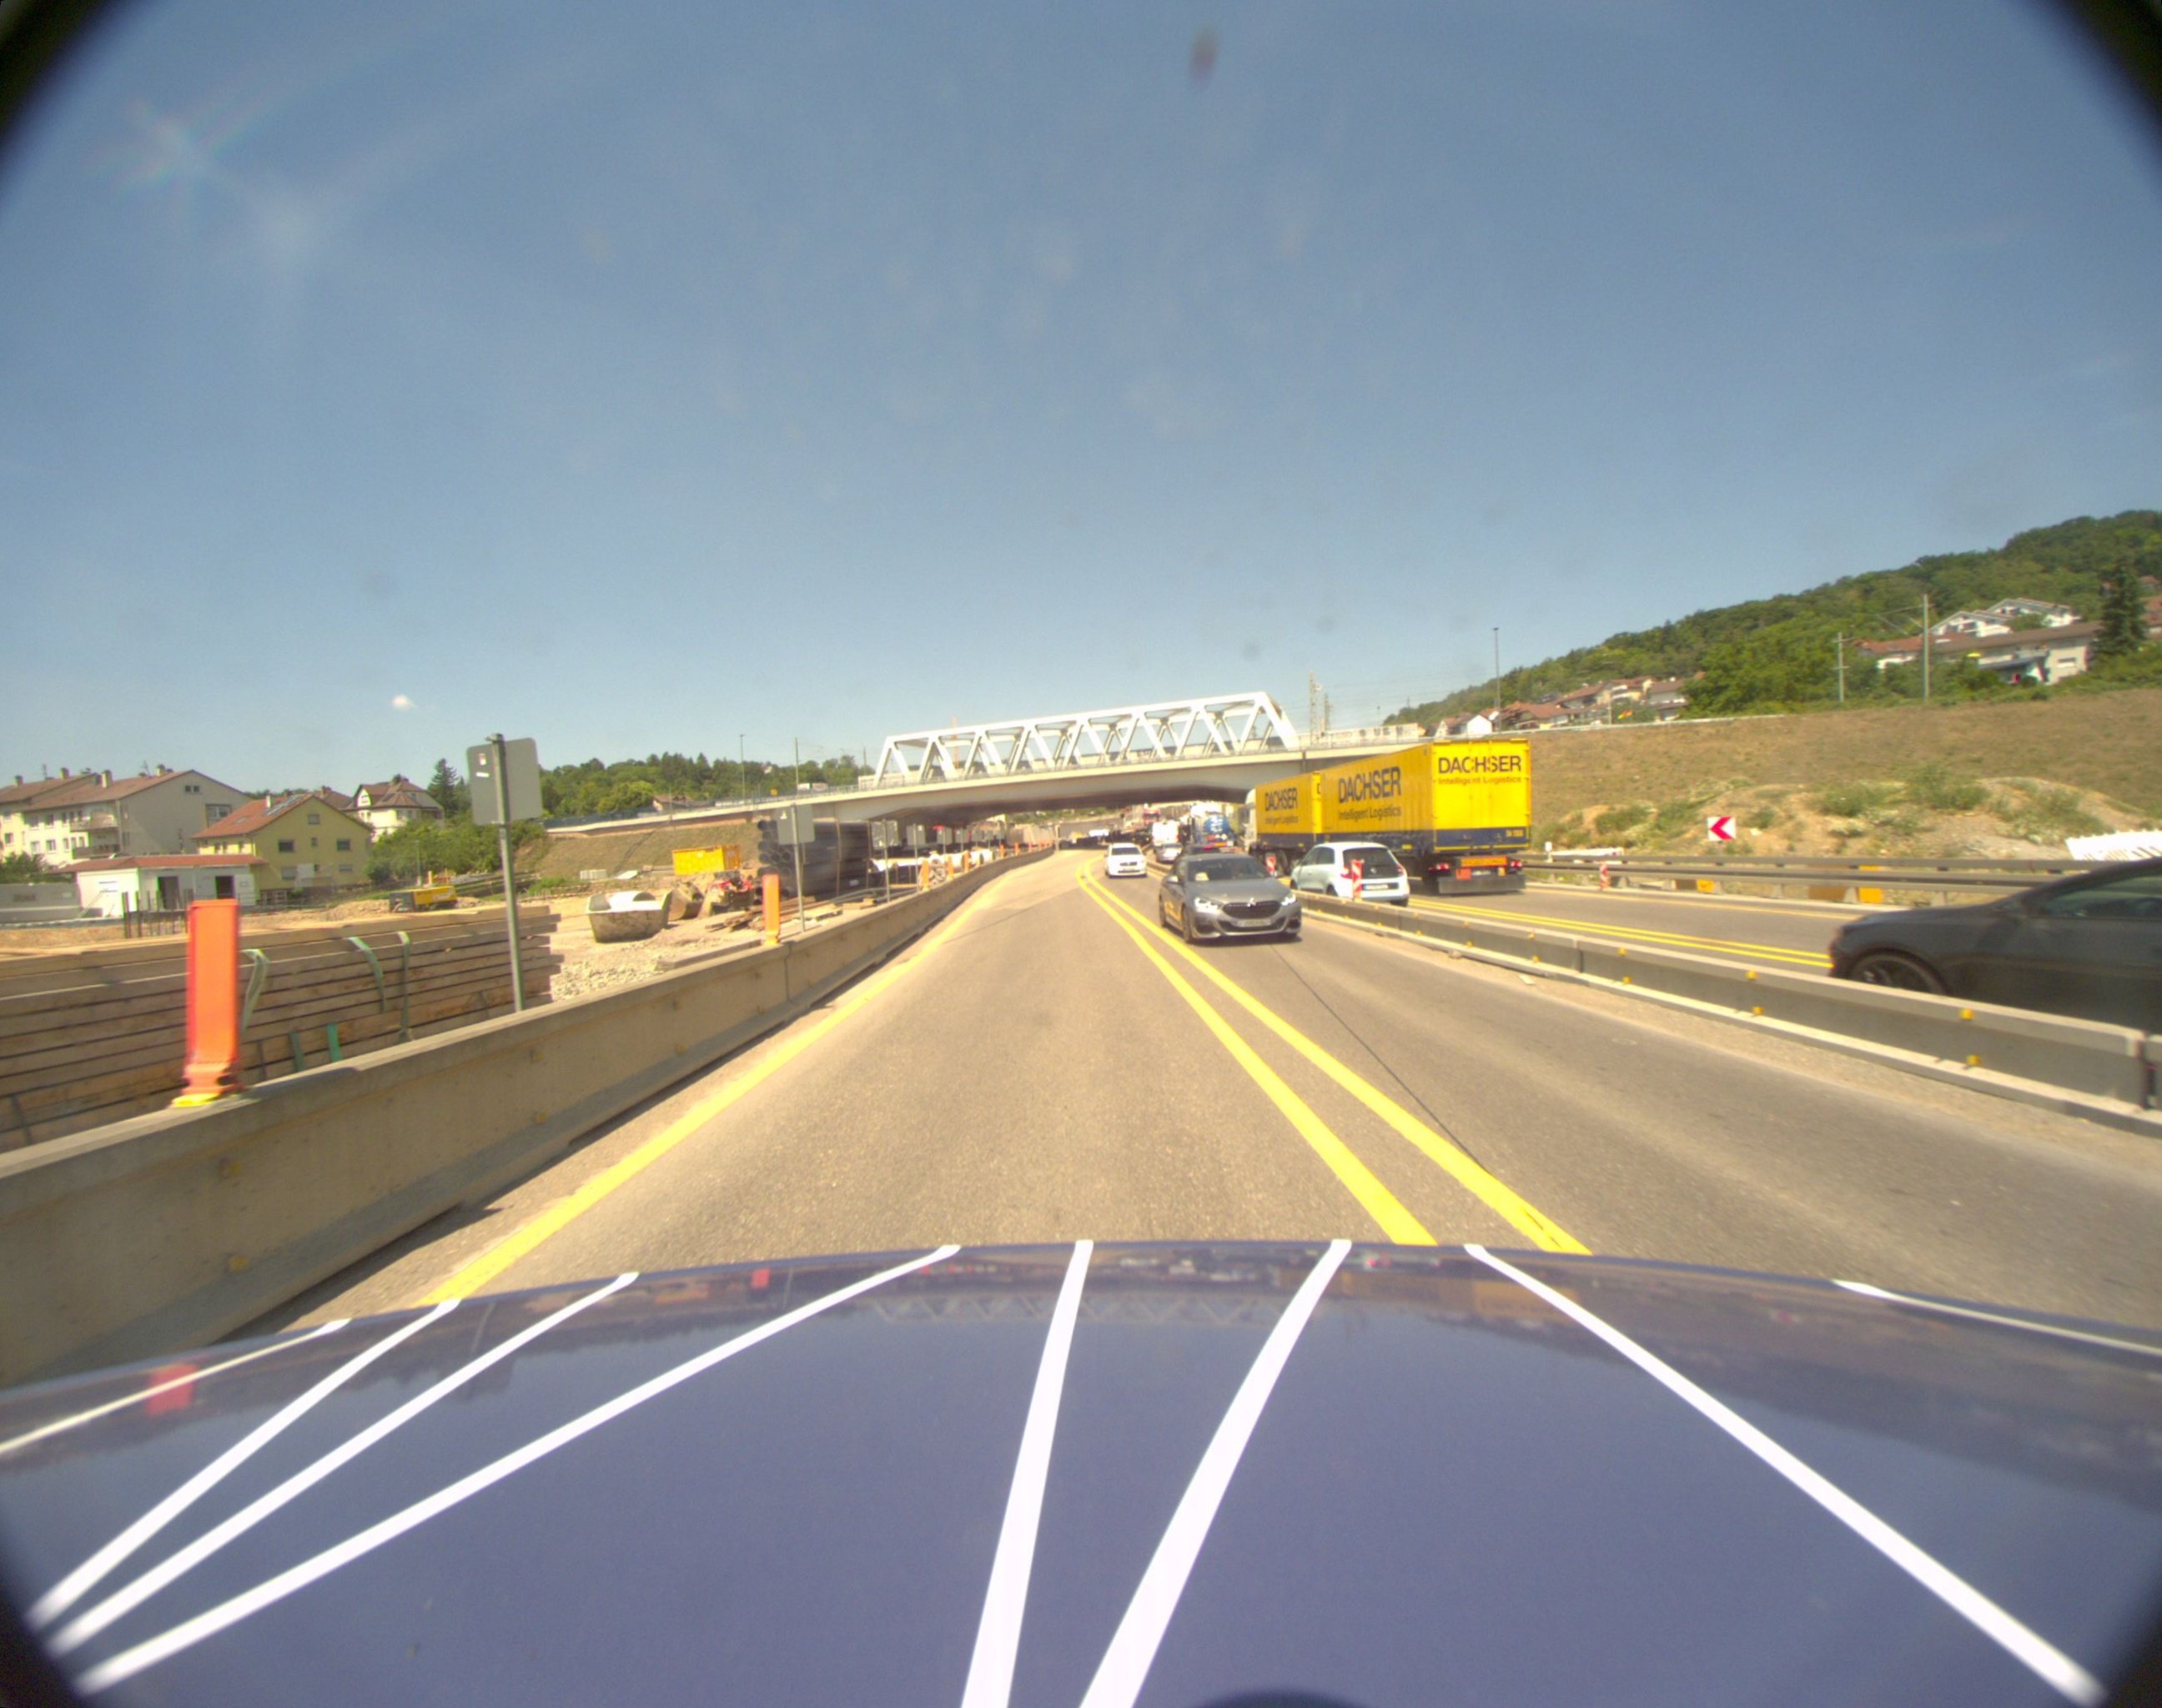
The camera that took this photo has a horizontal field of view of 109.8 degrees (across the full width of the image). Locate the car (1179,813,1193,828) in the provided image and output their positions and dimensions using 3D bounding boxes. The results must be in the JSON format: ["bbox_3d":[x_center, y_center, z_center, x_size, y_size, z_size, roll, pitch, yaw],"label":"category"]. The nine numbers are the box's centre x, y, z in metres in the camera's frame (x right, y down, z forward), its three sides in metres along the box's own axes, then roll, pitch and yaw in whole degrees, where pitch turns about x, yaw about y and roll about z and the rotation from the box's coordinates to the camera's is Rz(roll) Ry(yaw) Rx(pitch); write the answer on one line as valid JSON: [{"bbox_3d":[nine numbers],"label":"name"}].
[{"bbox_3d":[17.919,-5.714,129.161,1.984,2.318,6.059,-2,4,11],"label":"car"}]

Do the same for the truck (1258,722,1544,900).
[{"bbox_3d":[9.792,-1.255,26.604,2.814,4.318,15.366,-3,2,-2],"label":"truck"}]

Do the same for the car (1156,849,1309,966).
[{"bbox_3d":[2.439,0.777,13.336,1.838,1.588,4.389,-2,1,1],"label":"car"}]

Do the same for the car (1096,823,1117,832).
[{"bbox_3d":[5.961,-6.108,177.659,4.799,1.760,1.720,-4,3,5],"label":"car"}]

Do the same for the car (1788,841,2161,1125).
[{"bbox_3d":[6.578,0.675,3.750,1.825,1.427,4.582,-3,0,-1],"label":"car"}]

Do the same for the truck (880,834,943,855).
[{"bbox_3d":[-19.586,-1.105,88.034,6.531,2.062,2.666,-3,3,14],"label":"truck"}]

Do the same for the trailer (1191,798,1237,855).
[{"bbox_3d":[9.846,-2.127,57.184,2.531,3.769,10.244,-3,3,6],"label":"trailer"}]

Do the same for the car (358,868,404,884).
[{"bbox_3d":[-79.024,2.487,85.778,4.159,1.500,1.578,-1,5,14],"label":"car"}]

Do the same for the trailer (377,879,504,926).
[{"bbox_3d":[-26.342,1.949,31.444,1.627,1.478,3.826,-3,3,7],"label":"trailer"}]

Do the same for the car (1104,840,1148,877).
[{"bbox_3d":[2.057,0.149,35.313,1.838,1.465,4.389,-2,2,3],"label":"car"}]

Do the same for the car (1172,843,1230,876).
[{"bbox_3d":[5.440,0.192,35.003,1.681,1.354,4.501,-3,1,-3],"label":"car"}]

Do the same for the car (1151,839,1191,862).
[{"bbox_3d":[5.454,-0.223,46.613,1.681,1.257,4.334,-3,1,-3],"label":"car"}]

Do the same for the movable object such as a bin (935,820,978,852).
[{"bbox_3d":[-15.088,-2.168,92.136,3.885,3.524,2.905,-2,5,22],"label":"movable object such as a bin"}]

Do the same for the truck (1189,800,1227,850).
[{"bbox_3d":[10.419,-2.422,62.666,2.539,3.801,4.949,-3,3,5],"label":"truck"}]

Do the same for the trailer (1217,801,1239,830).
[{"bbox_3d":[23.089,-6.136,120.132,2.882,4.018,14.360,-3,3,10],"label":"trailer"}]

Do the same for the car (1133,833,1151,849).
[{"bbox_3d":[6.547,-1.411,81.765,1.800,1.543,3.999,-2,3,5],"label":"car"}]

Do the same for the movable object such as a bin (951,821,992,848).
[{"bbox_3d":[-14.930,-2.625,103.663,4.560,3.270,2.991,-3,5,15],"label":"movable object such as a bin"}]

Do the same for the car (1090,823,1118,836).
[{"bbox_3d":[5.526,-6.010,184.395,6.303,2.567,2.053,-6,3,-2],"label":"car"}]

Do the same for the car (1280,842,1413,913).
[{"bbox_3d":[6.170,0.506,18.130,1.641,1.477,3.999,-1,0,-2],"label":"car"}]

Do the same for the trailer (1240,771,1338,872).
[{"bbox_3d":[9.439,-1.448,35.066,2.873,4.206,5.216,-2,2,-2],"label":"trailer"}]

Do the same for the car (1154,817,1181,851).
[{"bbox_3d":[7.188,-1.703,63.597,2.075,2.490,6.482,-2,4,6],"label":"car"}]

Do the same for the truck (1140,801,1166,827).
[{"bbox_3d":[12.674,-7.040,132.948,3.460,4.026,10.210,-2,5,11],"label":"truck"}]

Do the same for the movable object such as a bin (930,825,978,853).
[{"bbox_3d":[-16.132,-1.904,96.532,5.247,3.041,2.497,-3,5,15],"label":"movable object such as a bin"}]
